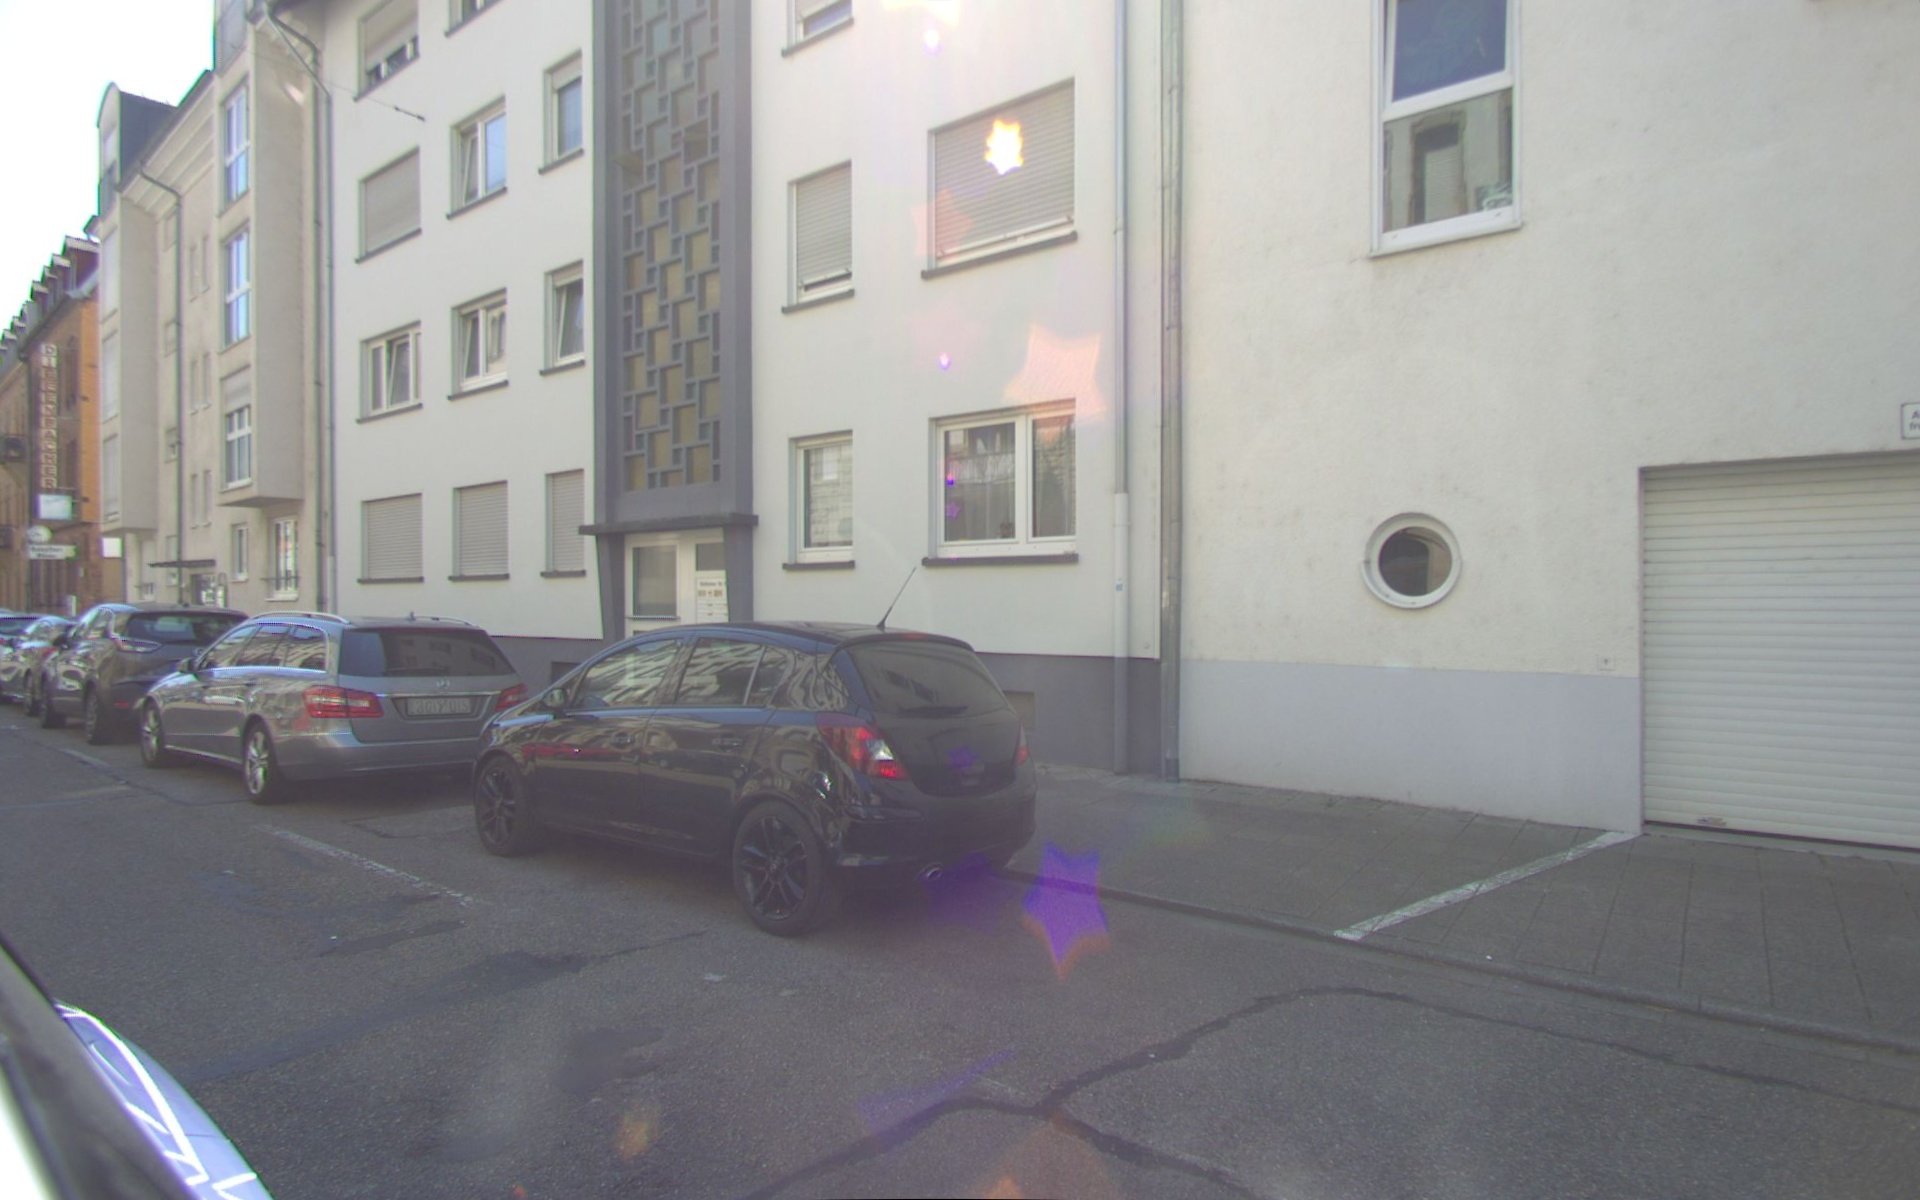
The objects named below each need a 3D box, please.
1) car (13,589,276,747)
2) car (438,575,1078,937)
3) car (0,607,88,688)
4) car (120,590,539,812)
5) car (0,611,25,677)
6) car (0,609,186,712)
[{"bbox_3d":[-10.079,0.740,12.418,3.971,1.656,1.588,0,-2,38],"label":"car"},{"bbox_3d":[-1.374,0.677,6.024,3.888,1.503,1.552,0,-2,38],"label":"car"},{"bbox_3d":[-19.261,0.904,20.361,4.342,1.506,1.714,0,-3,38],"label":"car"},{"bbox_3d":[-5.817,0.729,9.093,4.664,1.530,1.641,0,-2,38],"label":"car"},{"bbox_3d":[-24.641,1.029,24.862,3.845,1.561,1.614,0,-4,35],"label":"car"},{"bbox_3d":[-13.954,0.872,15.902,4.342,1.404,1.748,0,-2,38],"label":"car"}]
